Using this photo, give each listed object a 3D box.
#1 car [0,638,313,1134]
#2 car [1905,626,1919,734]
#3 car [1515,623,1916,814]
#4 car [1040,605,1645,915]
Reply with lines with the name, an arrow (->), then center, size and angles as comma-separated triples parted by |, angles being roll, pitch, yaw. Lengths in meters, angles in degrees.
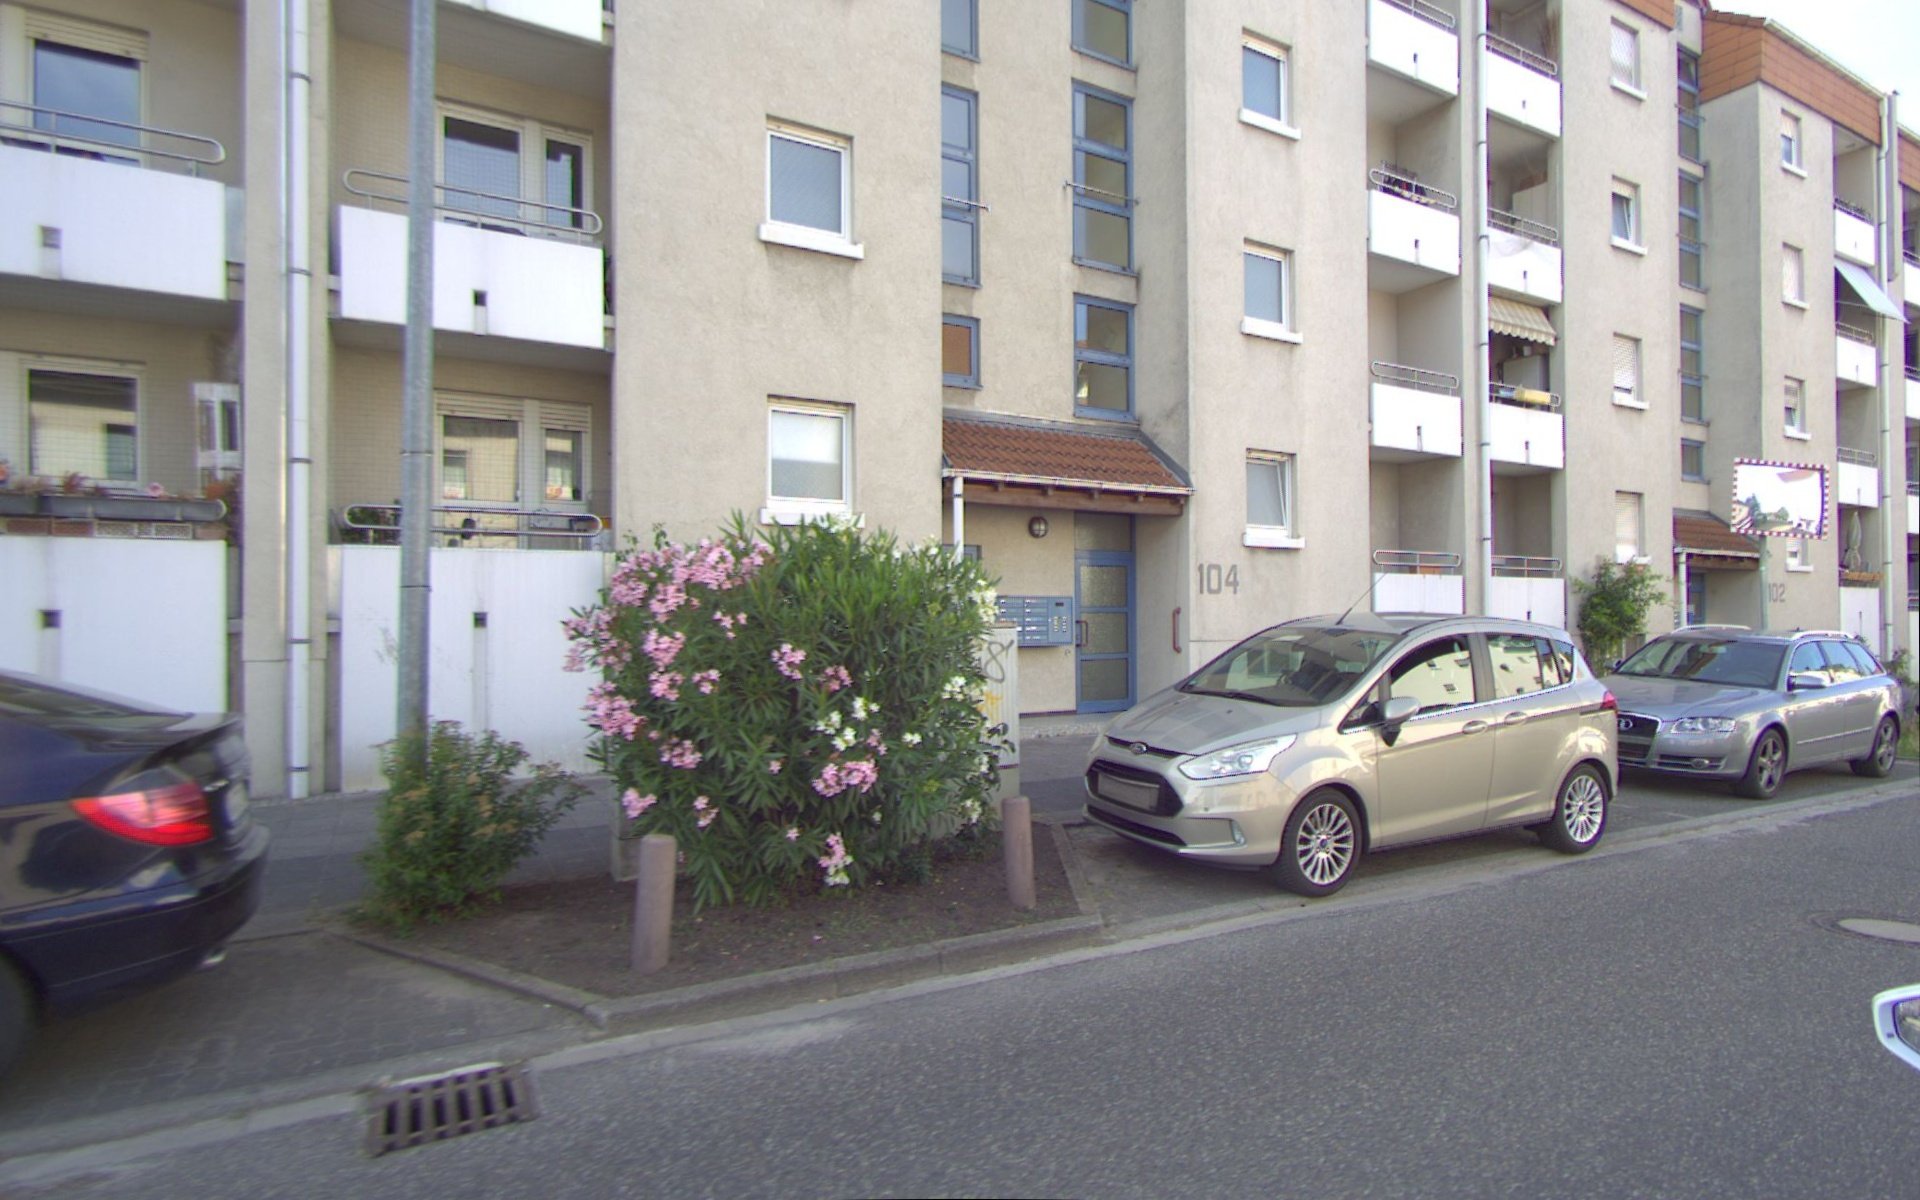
car -> -4.411, 0.871, 3.030 | 4.036, 1.424, 1.678 | 0, -1, -31
car -> 15.343, 1.116, 14.325 | 4.093, 1.474, 1.677 | 0, -1, -31
car -> 7.733, 1.019, 10.188 | 4.320, 1.541, 1.798 | 0, -1, -31
car -> 2.656, 0.846, 6.848 | 3.915, 1.576, 1.720 | 1, 0, -28
